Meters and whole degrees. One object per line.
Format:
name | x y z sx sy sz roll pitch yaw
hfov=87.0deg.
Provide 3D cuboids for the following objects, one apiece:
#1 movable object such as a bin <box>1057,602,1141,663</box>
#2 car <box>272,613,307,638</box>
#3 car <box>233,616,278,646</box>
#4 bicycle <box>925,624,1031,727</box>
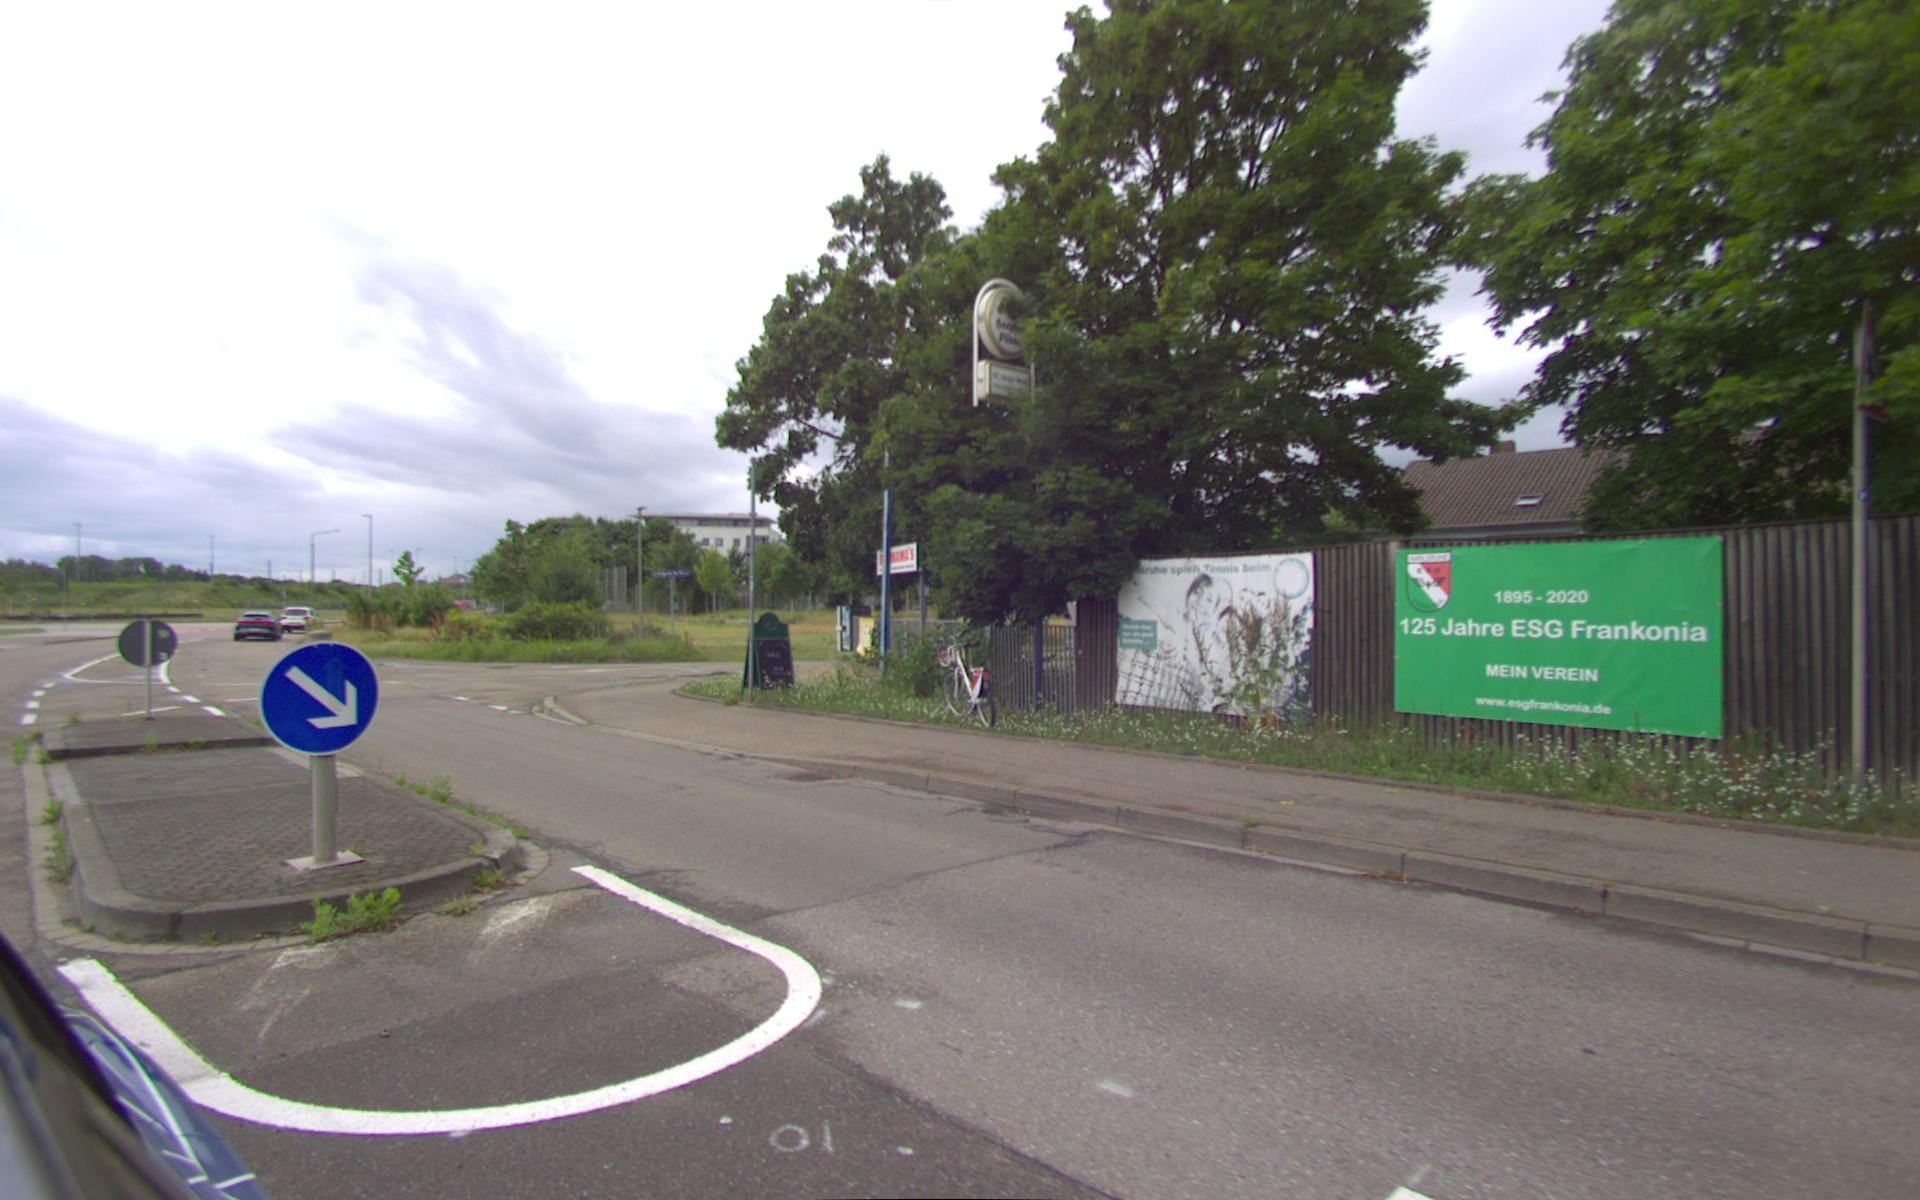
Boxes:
movable object such as a bin | 5.049 1.130 36.631 1.684 2.075 2.746 2 1 44
car | -43.021 1.595 65.008 1.813 1.548 4.011 1 -1 -33
car | -36.353 1.562 52.153 1.716 1.464 4.008 1 -1 -37
bicycle | 0.167 0.826 11.640 0.574 1.006 1.776 -2 1 -21
